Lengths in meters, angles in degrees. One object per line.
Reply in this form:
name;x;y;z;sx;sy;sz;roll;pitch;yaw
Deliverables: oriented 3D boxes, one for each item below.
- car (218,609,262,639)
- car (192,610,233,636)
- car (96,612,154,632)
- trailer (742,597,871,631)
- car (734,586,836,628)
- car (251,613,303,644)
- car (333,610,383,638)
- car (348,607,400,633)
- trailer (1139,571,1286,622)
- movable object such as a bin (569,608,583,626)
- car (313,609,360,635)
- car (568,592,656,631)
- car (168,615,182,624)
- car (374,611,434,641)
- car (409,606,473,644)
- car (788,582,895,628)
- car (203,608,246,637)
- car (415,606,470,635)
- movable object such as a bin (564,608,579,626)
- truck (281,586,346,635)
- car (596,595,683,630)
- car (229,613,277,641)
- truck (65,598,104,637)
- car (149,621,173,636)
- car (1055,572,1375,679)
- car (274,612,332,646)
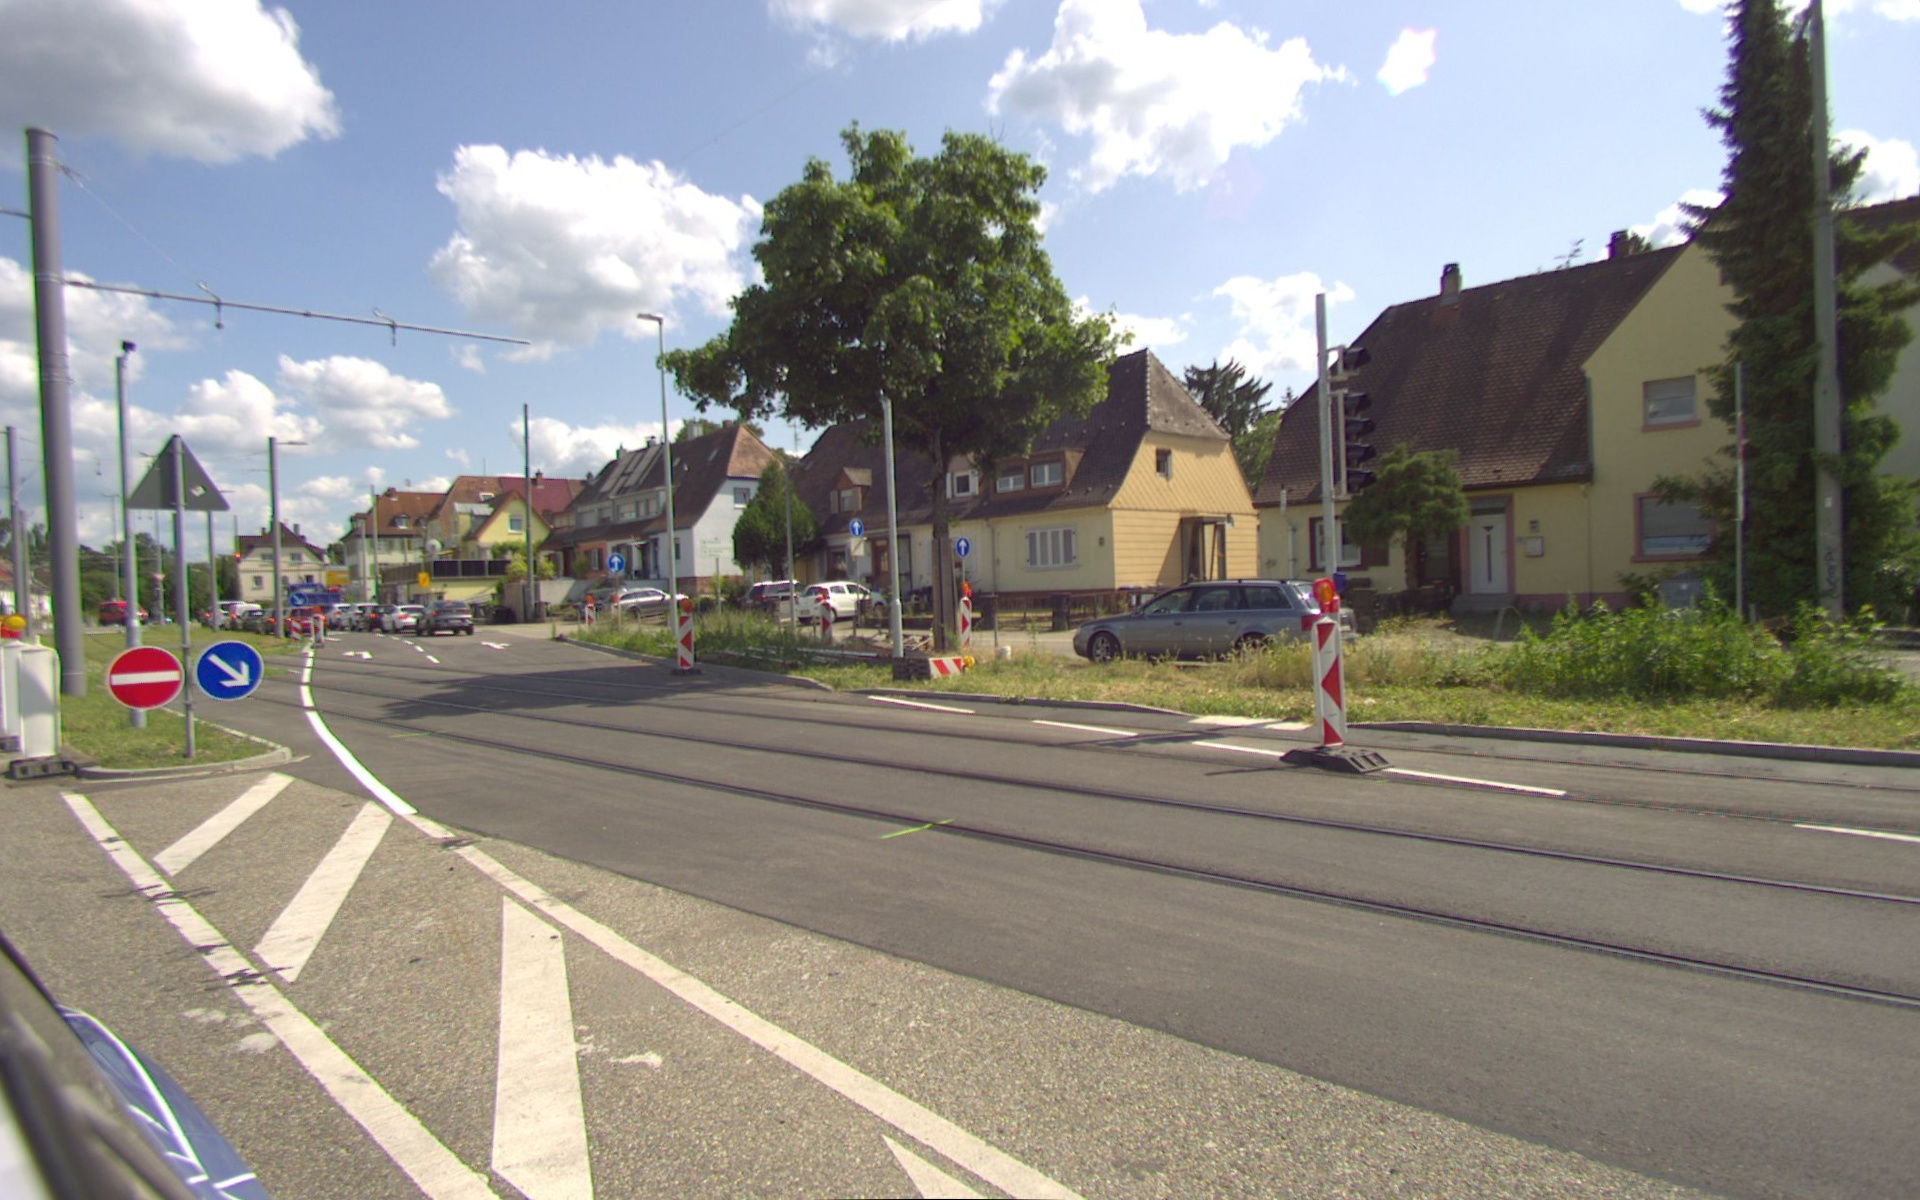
car;-47.532;1.591;66.756;1.705;1.868;4.546;-3;1;-43
car;-56.938;1.737;77.053;1.895;1.794;4.546;-3;1;-43
car;-84.428;2.224;102.349;4.945;1.886;2.273;-2;1;19
trailer;-6.018;0.529;40.141;1.961;1.133;4.867;-2;1;43
car;-7.240;0.260;42.046;3.837;1.556;1.708;-3;1;-42
car;-38.108;1.552;56.428;1.705;1.574;4.650;-3;1;-42
car;-36.352;1.428;61.096;1.705;1.574;4.547;-3;1;-42
car;-32.383;1.098;55.876;1.704;1.344;4.549;-3;1;-40
trailer;8.013;-0.131;31.771;5.195;1.404;2.025;-3;1;-44
movable object such as a bin;-20.527;0.913;54.079;0.510;0.959;0.583;-3;1;-44
car;-41.048;1.430;66.605;1.705;1.574;4.546;-3;1;-43
car;-18.184;0.590;53.046;1.803;1.859;3.943;-2;1;43
car;-143.077;3.551;184.456;1.696;1.603;4.179;-3;1;-40
car;-27.691;1.267;50.353;1.704;1.344;4.549;-3;1;-40
car;-23.218;1.078;45.165;1.703;1.538;4.780;-3;1;-37
car;-4.428;0.155;38.261;1.759;1.556;3.912;-2;1;39
car;-52.600;1.597;72.369;1.895;1.979;4.546;-3;1;-43
car;-30.213;1.174;59.023;1.705;1.574;4.547;-3;1;-42
movable object such as a bin;-20.932;0.928;54.499;0.510;0.959;0.583;-3;1;-44
truck;-46.247;0.756;72.288;2.800;3.177;7.946;-3;1;-40
car;-16.152;0.628;51.098;1.682;1.566;3.835;-2;1;43
car;-43.119;1.609;61.663;1.705;1.574;4.546;-3;1;-43
truck;-125.794;2.549;145.562;3.424;5.222;14.245;-3;1;-38
car;-111.975;3.987;141.862;2.249;1.886;4.997;-3;1;-36
car;3.955;0.382;16.319;4.755;1.475;1.674;-2;1;43
car;-33.352;1.444;51.308;1.705;1.574;4.547;-3;1;-42
